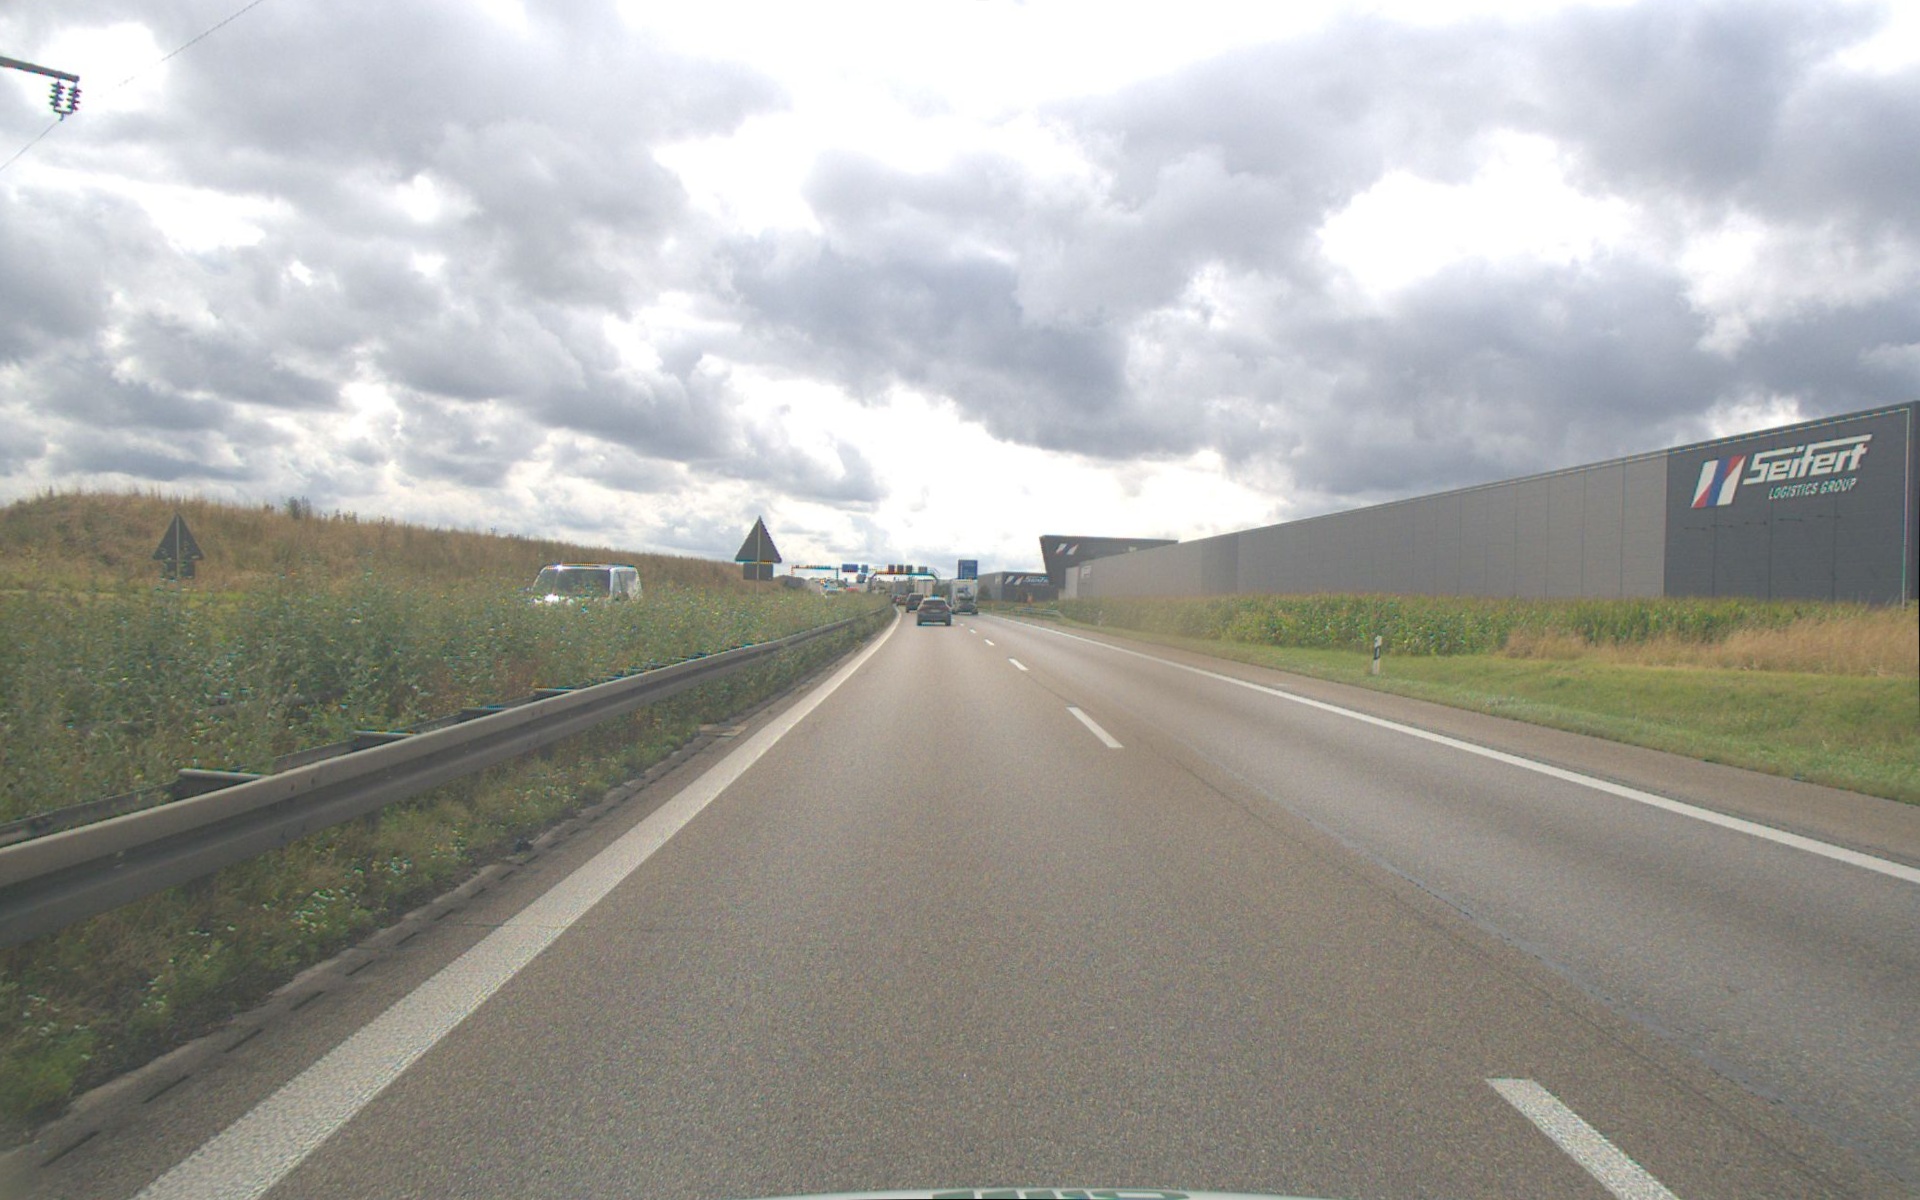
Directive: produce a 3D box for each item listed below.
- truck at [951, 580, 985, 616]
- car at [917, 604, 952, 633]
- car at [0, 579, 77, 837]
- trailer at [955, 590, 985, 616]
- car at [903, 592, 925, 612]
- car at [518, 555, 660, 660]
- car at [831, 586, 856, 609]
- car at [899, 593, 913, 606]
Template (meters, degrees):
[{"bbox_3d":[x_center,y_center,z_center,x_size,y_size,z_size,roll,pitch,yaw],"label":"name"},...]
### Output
[{"bbox_3d":[0.697,-0.179,145.647,2.433,3.002,5.809,1,0,-4],"label":"truck"},{"bbox_3d":[-1.379,0.969,87.203,1.711,1.478,3.998,1,0,-2],"label":"car"},{"bbox_3d":[-7.273,0.682,9.577,1.953,1.691,4.301,1,0,0],"label":"car"},{"bbox_3d":[0.810,0.256,138.458,2.291,2.174,3.998,1,0,-2],"label":"trailer"},{"bbox_3d":[-4.209,0.195,151.881,1.906,1.714,3.998,1,0,-2],"label":"car"},{"bbox_3d":[-7.830,0.156,35.386,1.953,2.049,5.031,1,0,-1],"label":"car"},{"bbox_3d":[-10.504,-0.231,149.510,1.953,2.049,5.530,1,0,-1],"label":"car"},{"bbox_3d":[-7.819,-0.056,238.619,1.903,1.806,3.695,1,0,-1],"label":"car"}]
